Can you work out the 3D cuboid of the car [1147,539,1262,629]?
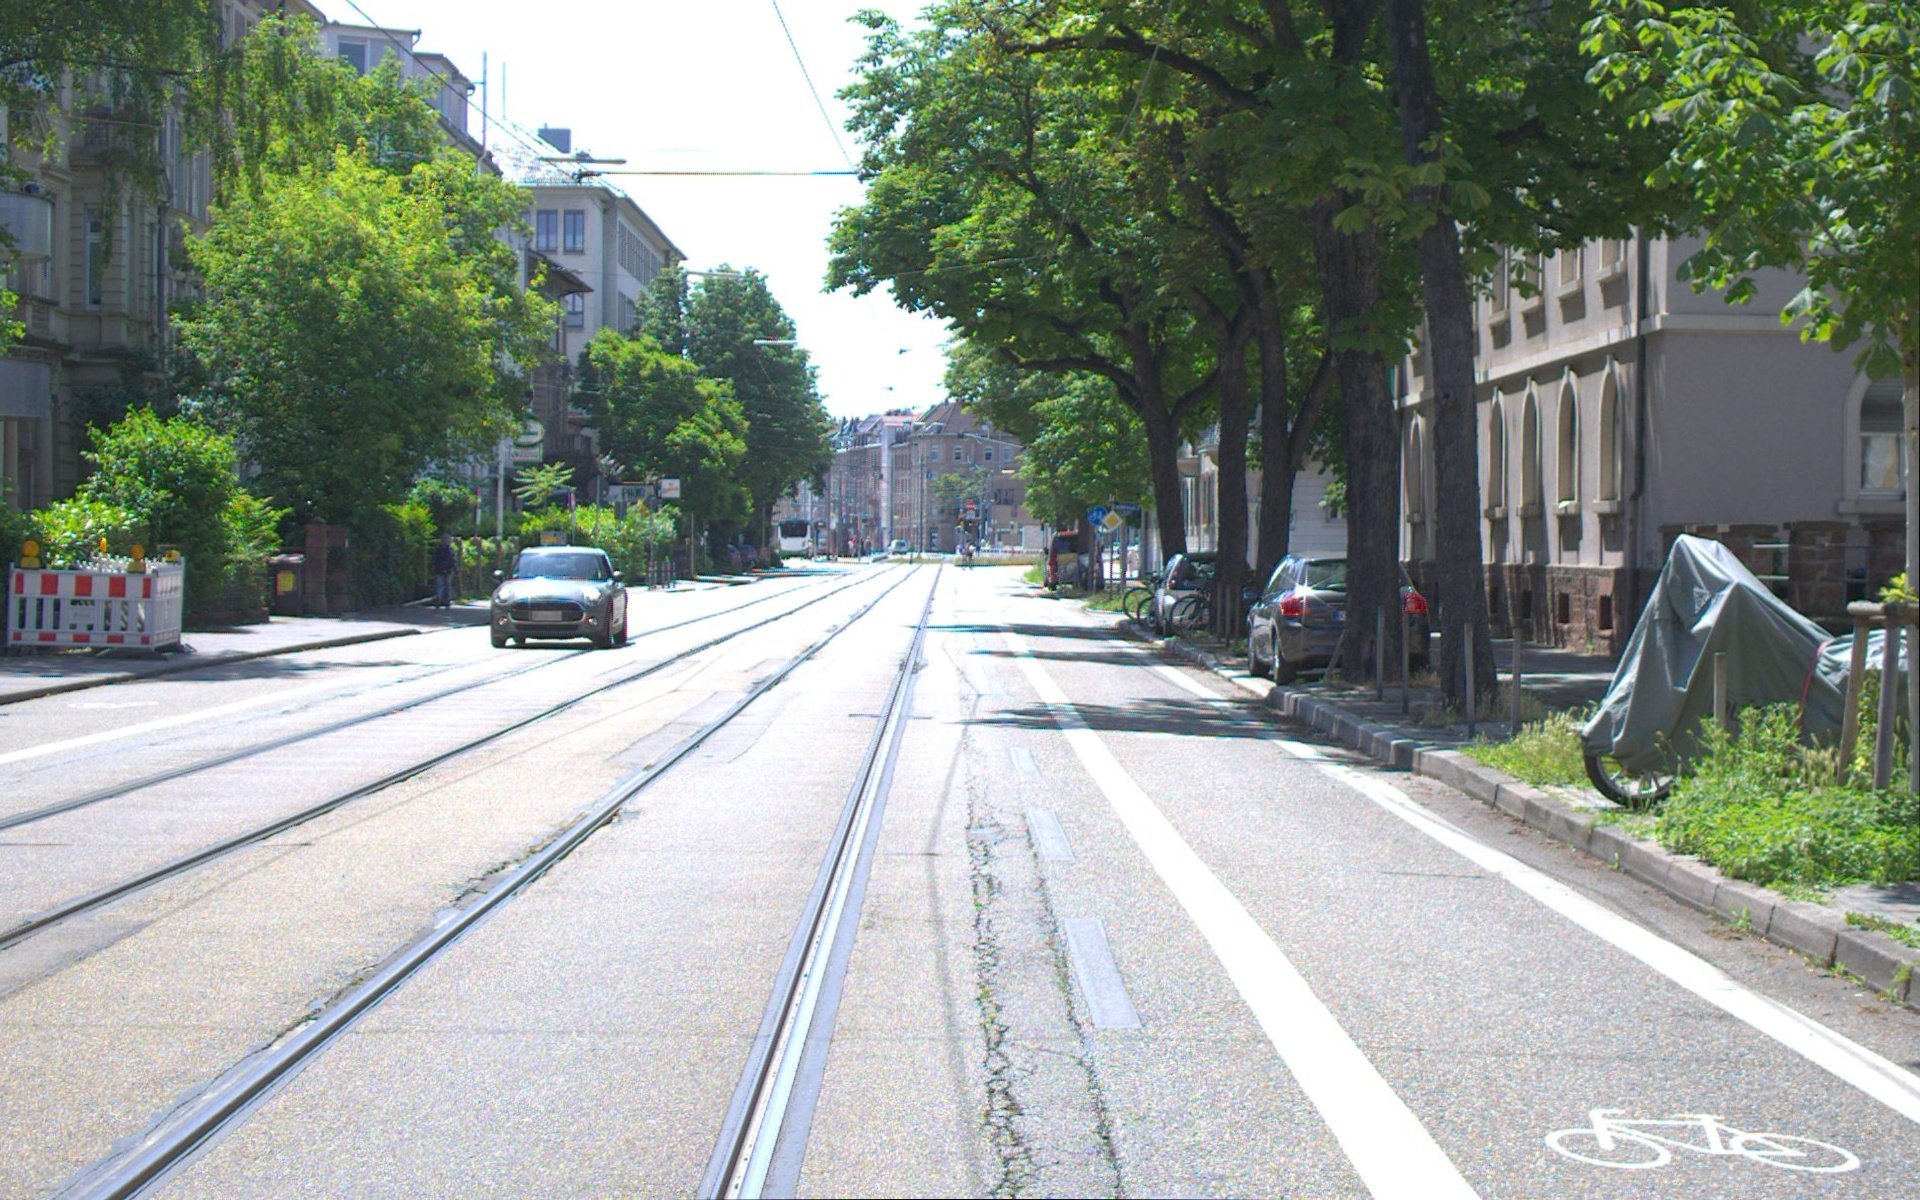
[{"bbox_3d":[4.165,-0.281,59.059,1.621,1.443,3.810,-2,0,0],"label":"car"}]

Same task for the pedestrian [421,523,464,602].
[{"bbox_3d":[-10.771,-0.776,71.576,0.751,1.623,0.833,1,1,0],"label":"pedestrian"}]

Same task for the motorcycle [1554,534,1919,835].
[{"bbox_3d":[4.485,0.418,18.821,2.319,1.535,0.867,2,2,43],"label":"motorcycle"}]

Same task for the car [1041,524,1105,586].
[{"bbox_3d":[3.850,-1.561,117.622,1.993,2.028,4.697,0,1,0],"label":"car"}]

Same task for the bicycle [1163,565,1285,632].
[{"bbox_3d":[4.179,-0.027,54.334,1.890,1.048,0.538,0,0,7],"label":"bicycle"}]

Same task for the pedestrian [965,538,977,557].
[{"bbox_3d":[0.671,-3.245,210.977,0.491,1.169,0.590,-1,1,-26],"label":"pedestrian"}]

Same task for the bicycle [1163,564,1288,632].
[{"bbox_3d":[4.230,-0.035,54.749,1.964,1.059,0.598,0,0,7],"label":"bicycle"}]

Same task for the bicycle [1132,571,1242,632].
[{"bbox_3d":[4.225,0.035,64.119,2.010,1.109,0.640,-1,0,2],"label":"bicycle"}]

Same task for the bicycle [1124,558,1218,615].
[{"bbox_3d":[4.197,-0.273,68.501,1.816,1.109,0.493,-1,0,0],"label":"bicycle"}]

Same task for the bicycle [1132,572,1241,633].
[{"bbox_3d":[4.176,0.044,63.456,1.963,1.109,0.598,-1,0,2],"label":"bicycle"}]

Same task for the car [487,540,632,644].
[{"bbox_3d":[-5.785,-0.141,49.994,1.686,1.449,3.748,0,1,0],"label":"car"}]

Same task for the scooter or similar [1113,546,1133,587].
[{"bbox_3d":[4.997,-1.025,105.332,0.501,1.225,1.573,1,1,0],"label":"scooter or similar"}]

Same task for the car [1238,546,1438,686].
[{"bbox_3d":[4.383,0.147,40.397,1.774,1.496,4.306,-1,1,-1],"label":"car"}]
